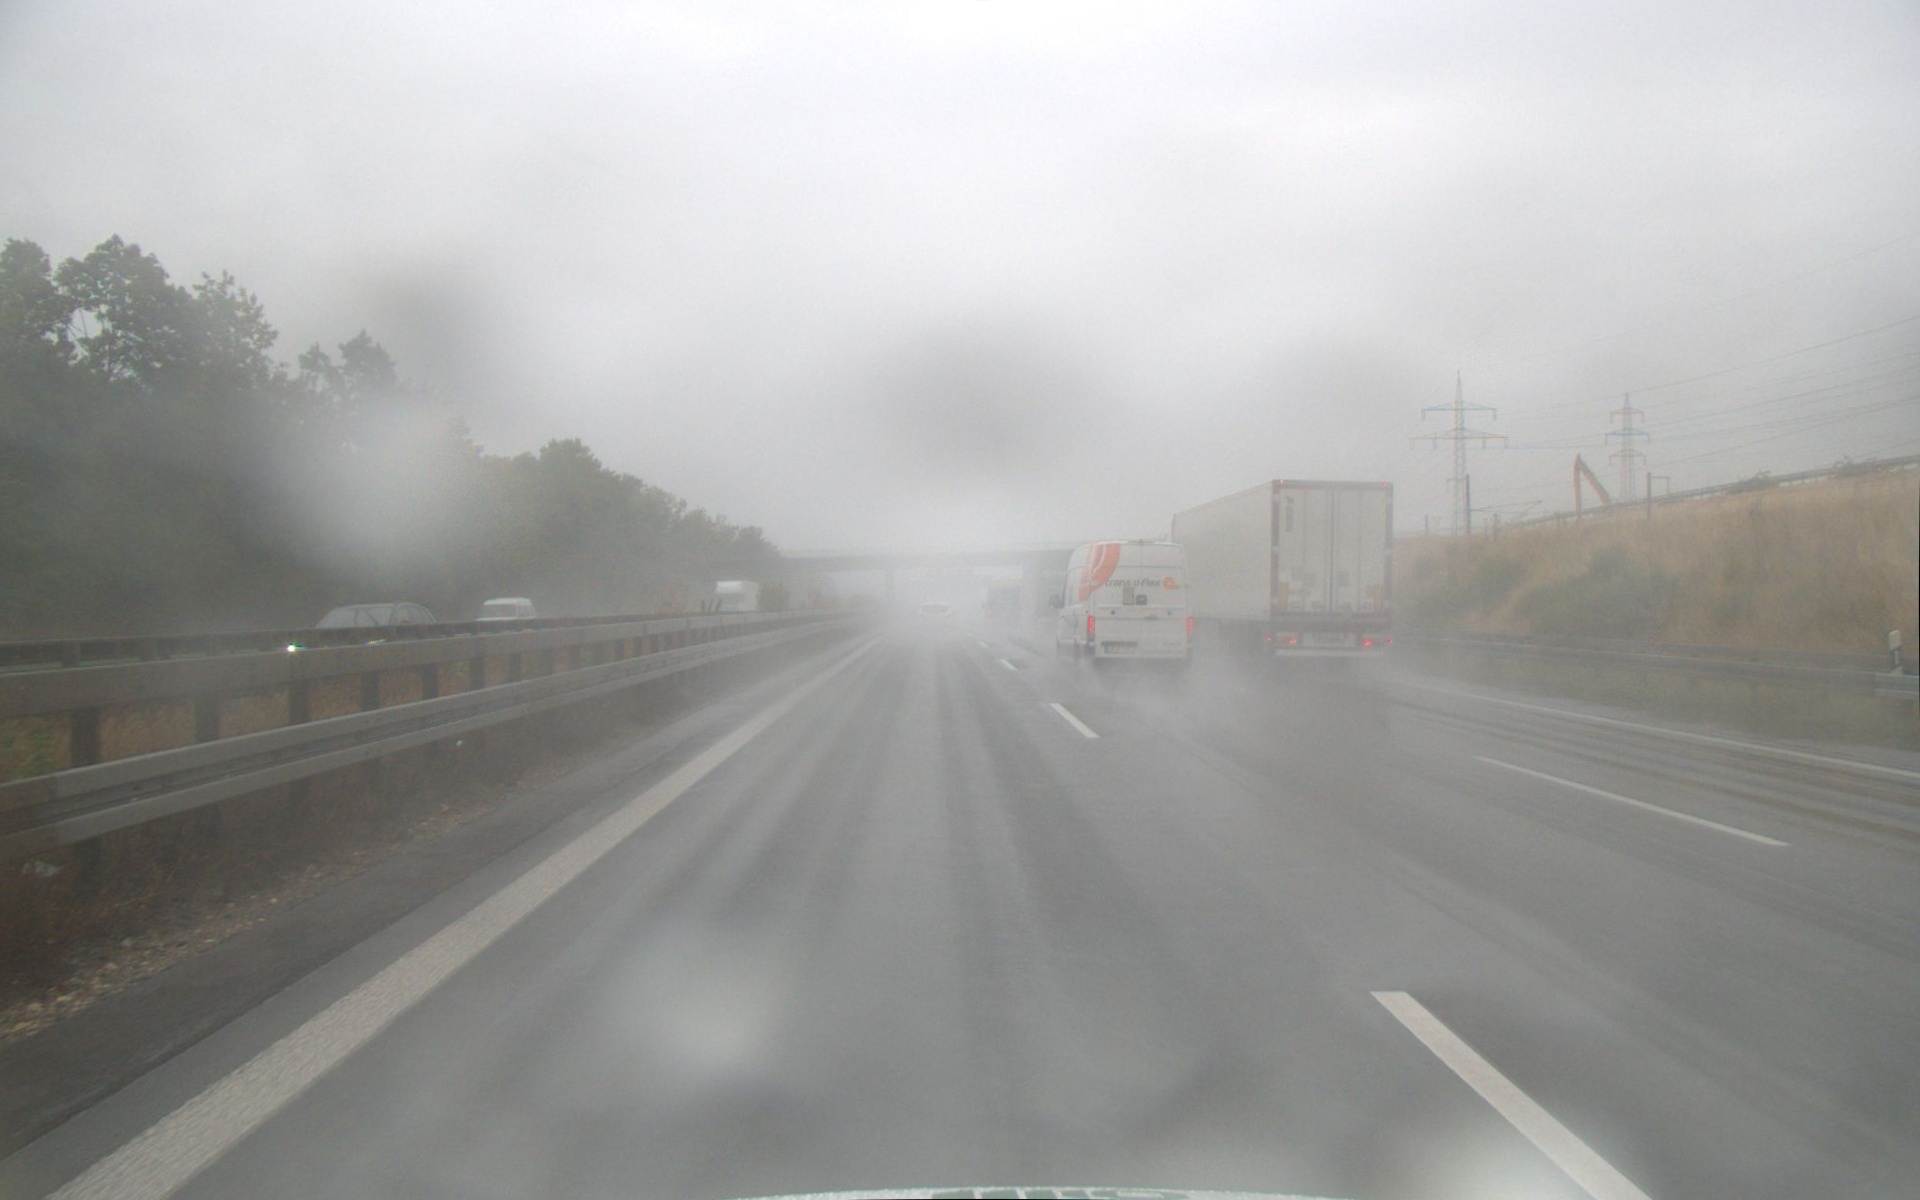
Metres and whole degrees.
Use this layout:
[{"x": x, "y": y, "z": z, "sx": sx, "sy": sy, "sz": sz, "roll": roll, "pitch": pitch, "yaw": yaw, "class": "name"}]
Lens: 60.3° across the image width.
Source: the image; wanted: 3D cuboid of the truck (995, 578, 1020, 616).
[{"x": 4.602, "y": -0.355, "z": 161.005, "sx": 2.067, "sy": 3.577, "sz": 5.245, "roll": 1, "pitch": 1, "yaw": -2, "class": "truck"}]

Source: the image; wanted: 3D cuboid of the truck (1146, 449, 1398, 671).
[{"x": 7.577, "y": -0.883, "z": 43.431, "sx": 2.978, "sy": 4.668, "sz": 16.345, "roll": 1, "pitch": 0, "yaw": -2, "class": "truck"}]

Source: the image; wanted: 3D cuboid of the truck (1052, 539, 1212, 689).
[{"x": 3.124, "y": 0.183, "z": 31.289, "sx": 2.370, "sy": 2.536, "sz": 5.560, "roll": 1, "pitch": 1, "yaw": 0, "class": "truck"}]

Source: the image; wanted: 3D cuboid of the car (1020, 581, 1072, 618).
[{"x": 5.140, "y": -0.045, "z": 99.396, "sx": 2.731, "sy": 2.048, "sz": 4.992, "roll": 1, "pitch": 1, "yaw": -1, "class": "car"}]
